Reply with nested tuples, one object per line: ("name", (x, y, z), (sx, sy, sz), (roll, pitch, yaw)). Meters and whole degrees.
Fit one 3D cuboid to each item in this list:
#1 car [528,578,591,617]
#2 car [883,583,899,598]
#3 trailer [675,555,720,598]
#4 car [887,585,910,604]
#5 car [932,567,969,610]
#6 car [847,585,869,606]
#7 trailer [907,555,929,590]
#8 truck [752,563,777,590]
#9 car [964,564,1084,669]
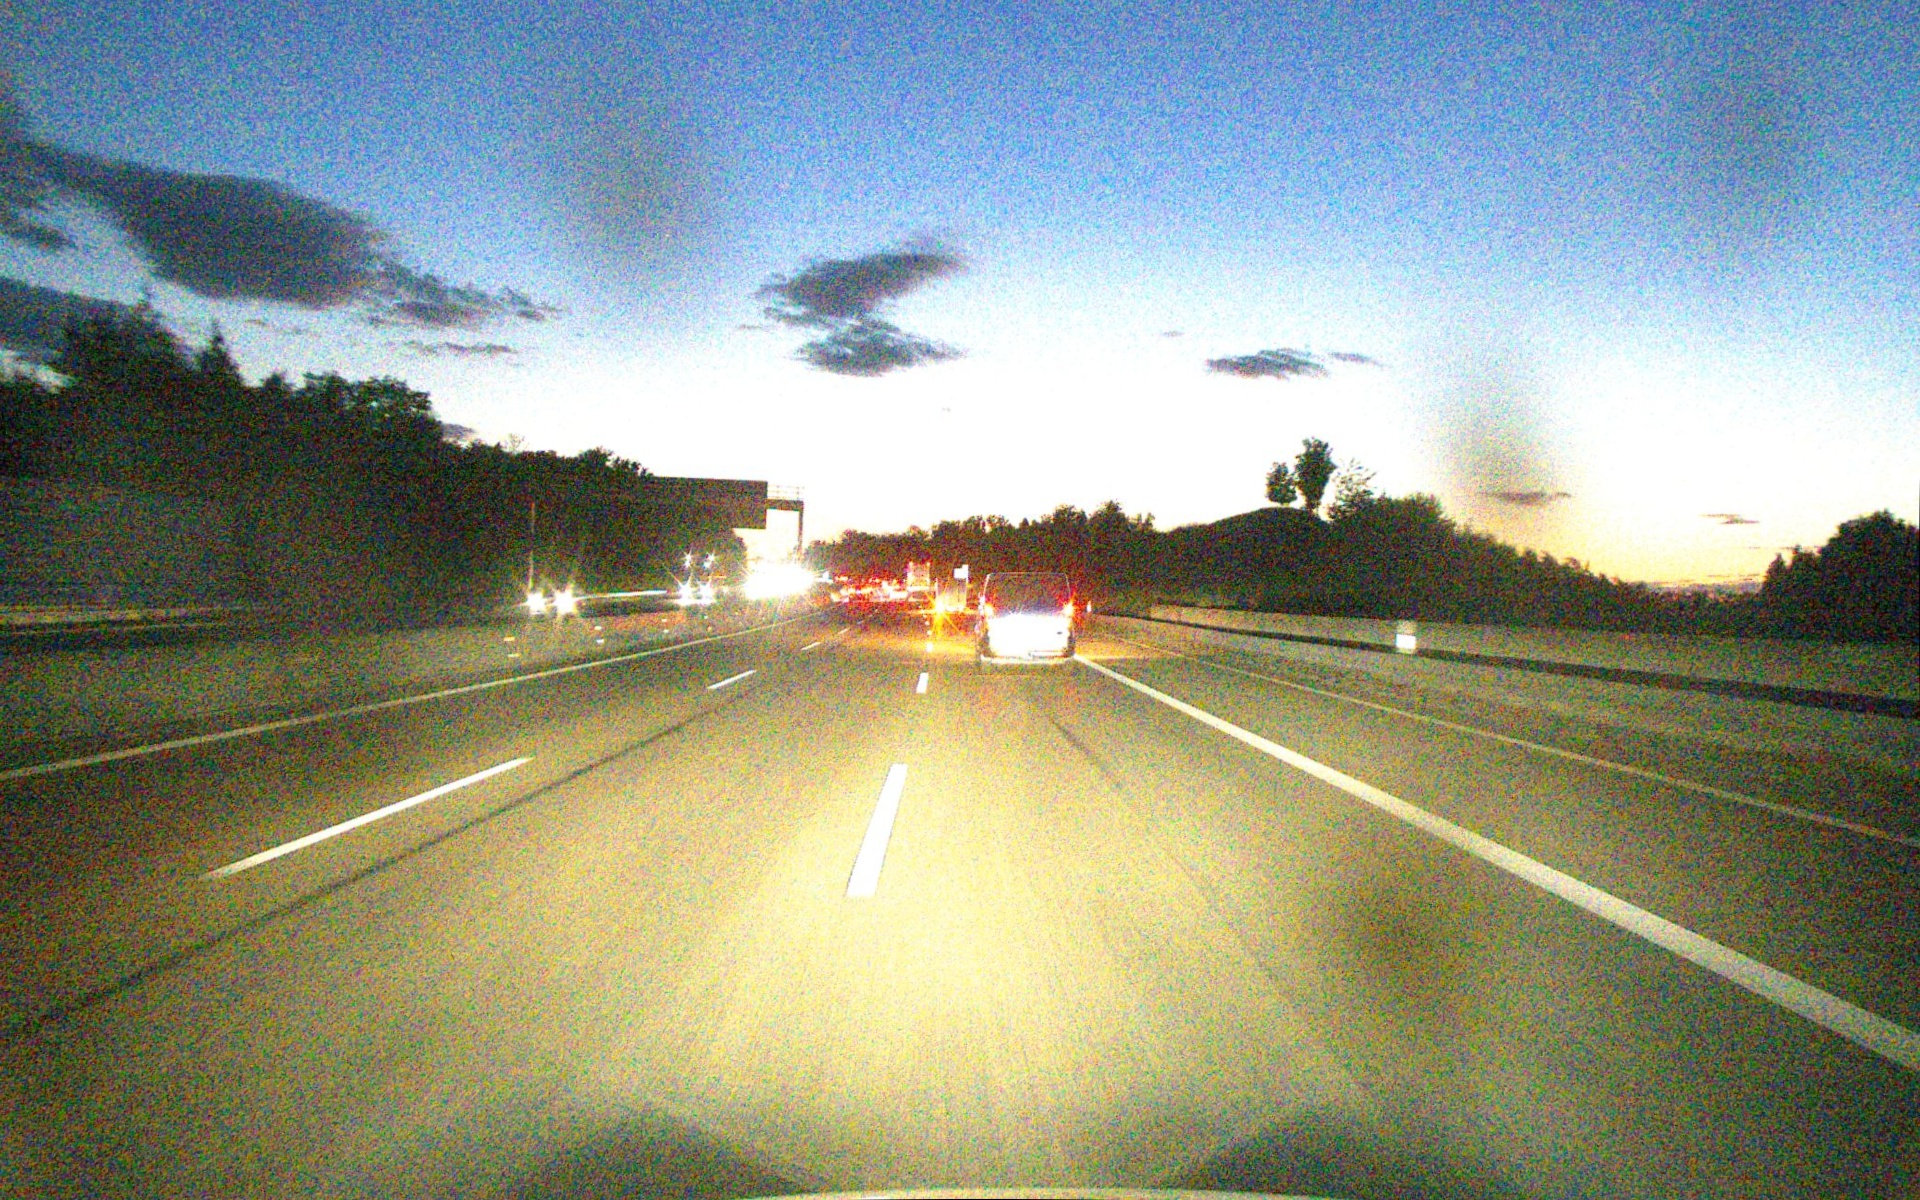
("car", (-18.339, -0.093, 75.926), (1.785, 1.724, 4.672), (0, -1, -1))
("car", (-8.828, -1.208, 211.458), (1.953, 1.825, 3.998), (0, -1, -2))
("trailer", (-25.556, -2.270, 161.367), (3.361, 4.050, 7.350), (1, 0, -2))
("car", (-6.144, -0.550, 164.742), (1.955, 1.825, 3.994), (0, -1, -6))
("car", (-0.634, -0.727, 106.947), (1.992, 2.693, 5.719), (0, 0, -5))
("car", (-9.500, -0.439, 153.688), (1.953, 1.848, 3.998), (0, -1, -3))
("trailer", (-5.916, -3.809, 232.508), (2.772, 4.331, 17.039), (0, -1, -2))
("truck", (-29.925, -3.625, 252.904), (3.362, 4.050, 6.203), (1, 0, -3))
("car", (1.260, 0.288, 35.122), (2.073, 2.036, 5.661), (0, 1, -2))
